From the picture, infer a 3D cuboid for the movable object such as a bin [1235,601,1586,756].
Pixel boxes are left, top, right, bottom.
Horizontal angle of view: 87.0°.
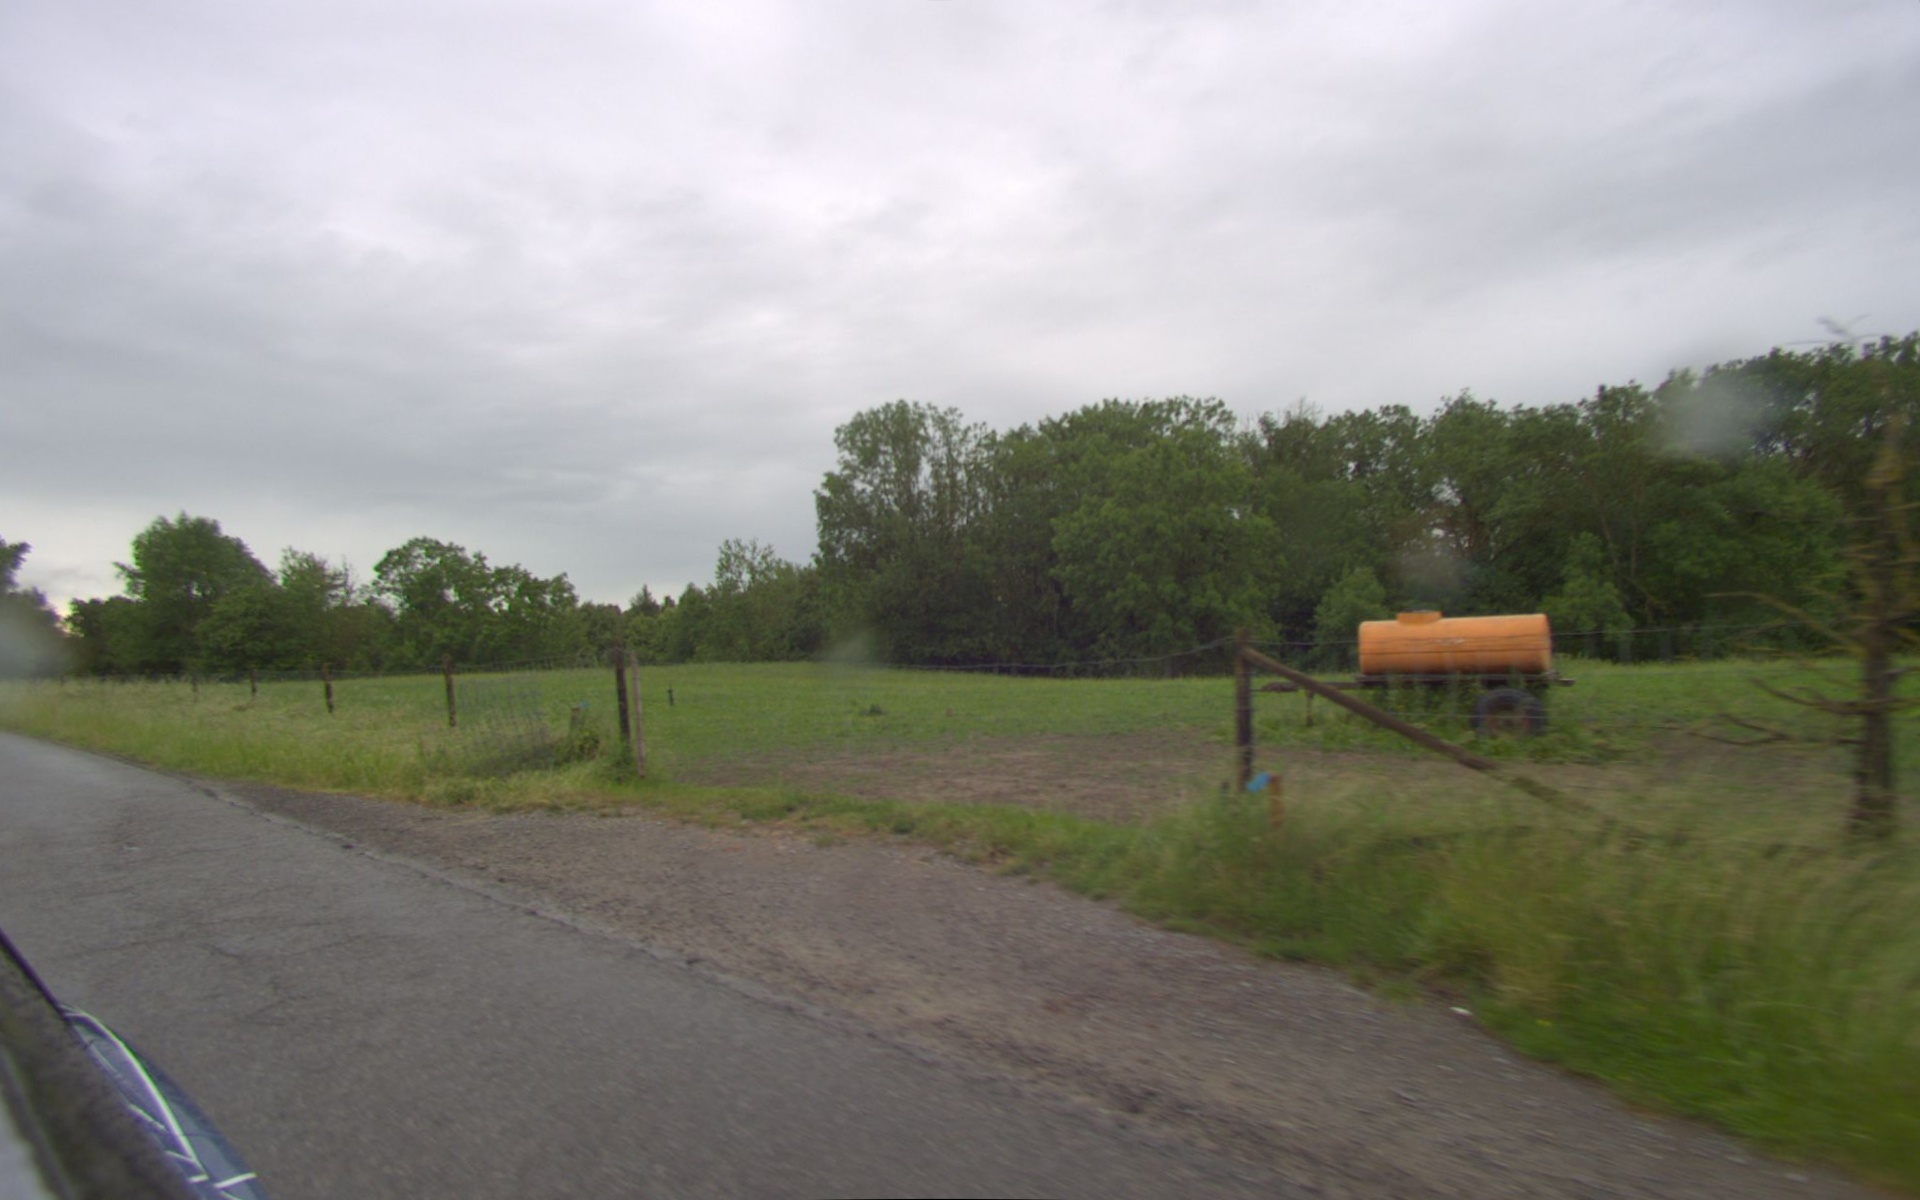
[{"bbox_3d":[5.351,0.857,12.217,3.535,1.583,1.662,-2,-1,39],"label":"movable object such as a bin"}]
